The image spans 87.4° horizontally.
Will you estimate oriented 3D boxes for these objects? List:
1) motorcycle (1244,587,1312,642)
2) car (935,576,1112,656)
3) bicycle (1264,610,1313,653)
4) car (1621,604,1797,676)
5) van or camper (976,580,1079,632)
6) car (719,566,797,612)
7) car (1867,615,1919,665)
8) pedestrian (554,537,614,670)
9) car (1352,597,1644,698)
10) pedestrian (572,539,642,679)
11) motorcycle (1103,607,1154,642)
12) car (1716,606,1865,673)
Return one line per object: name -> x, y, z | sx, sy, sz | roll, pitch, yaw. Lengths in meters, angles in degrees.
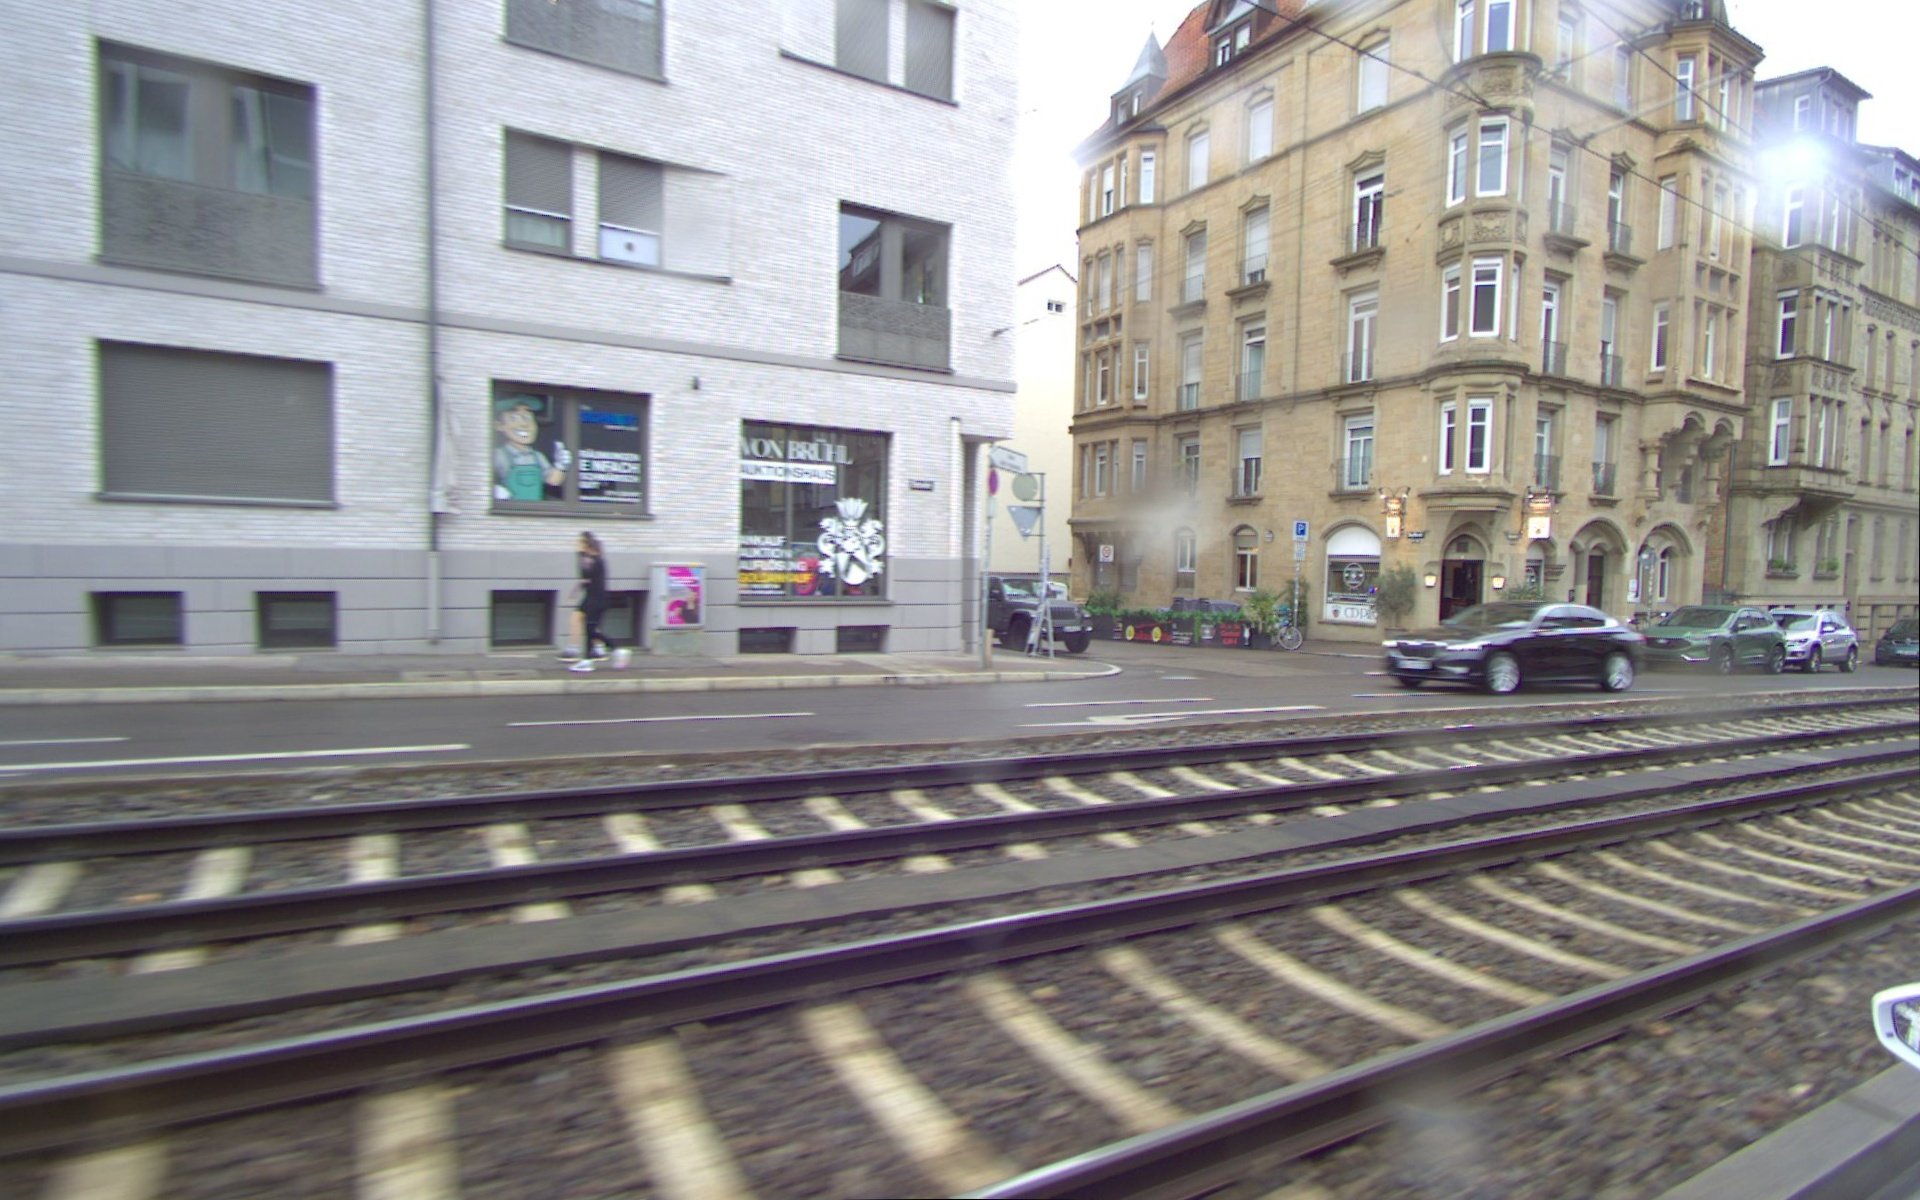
motorcycle -> 9.757, 0.443, 30.922 | 0.616, 1.641, 2.064 | 1, 0, -32
car -> 1.450, 0.329, 25.040 | 2.013, 1.751, 4.663 | 1, 1, -33
bicycle -> 9.231, 0.863, 28.292 | 0.608, 1.134, 2.136 | 1, -1, -1
car -> 18.605, 0.982, 24.918 | 4.375, 1.623, 1.850 | 1, 0, -29
van or camper -> 2.470, 0.225, 37.570 | 1.921, 1.799, 3.932 | 1, -1, -31
car -> -9.003, -0.465, 44.490 | 1.927, 1.895, 4.759 | 1, -1, -30
car -> 31.445, 1.305, 32.573 | 4.121, 1.528, 1.861 | 2, 0, -31
pedestrian -> -5.118, 0.044, 13.666 | 0.650, 1.741, 0.599 | 1, 4, -28
car -> 9.115, 0.762, 16.944 | 4.800, 1.477, 2.079 | 2, 0, -29
pedestrian -> -4.574, 0.109, 13.005 | 0.736, 1.741, 0.599 | 1, 4, -28
motorcycle -> 6.235, 0.911, 37.332 | 0.699, 1.247, 2.064 | 1, 0, -31
car -> 22.688, 1.053, 27.412 | 4.267, 1.674, 1.848 | 1, 0, -32
